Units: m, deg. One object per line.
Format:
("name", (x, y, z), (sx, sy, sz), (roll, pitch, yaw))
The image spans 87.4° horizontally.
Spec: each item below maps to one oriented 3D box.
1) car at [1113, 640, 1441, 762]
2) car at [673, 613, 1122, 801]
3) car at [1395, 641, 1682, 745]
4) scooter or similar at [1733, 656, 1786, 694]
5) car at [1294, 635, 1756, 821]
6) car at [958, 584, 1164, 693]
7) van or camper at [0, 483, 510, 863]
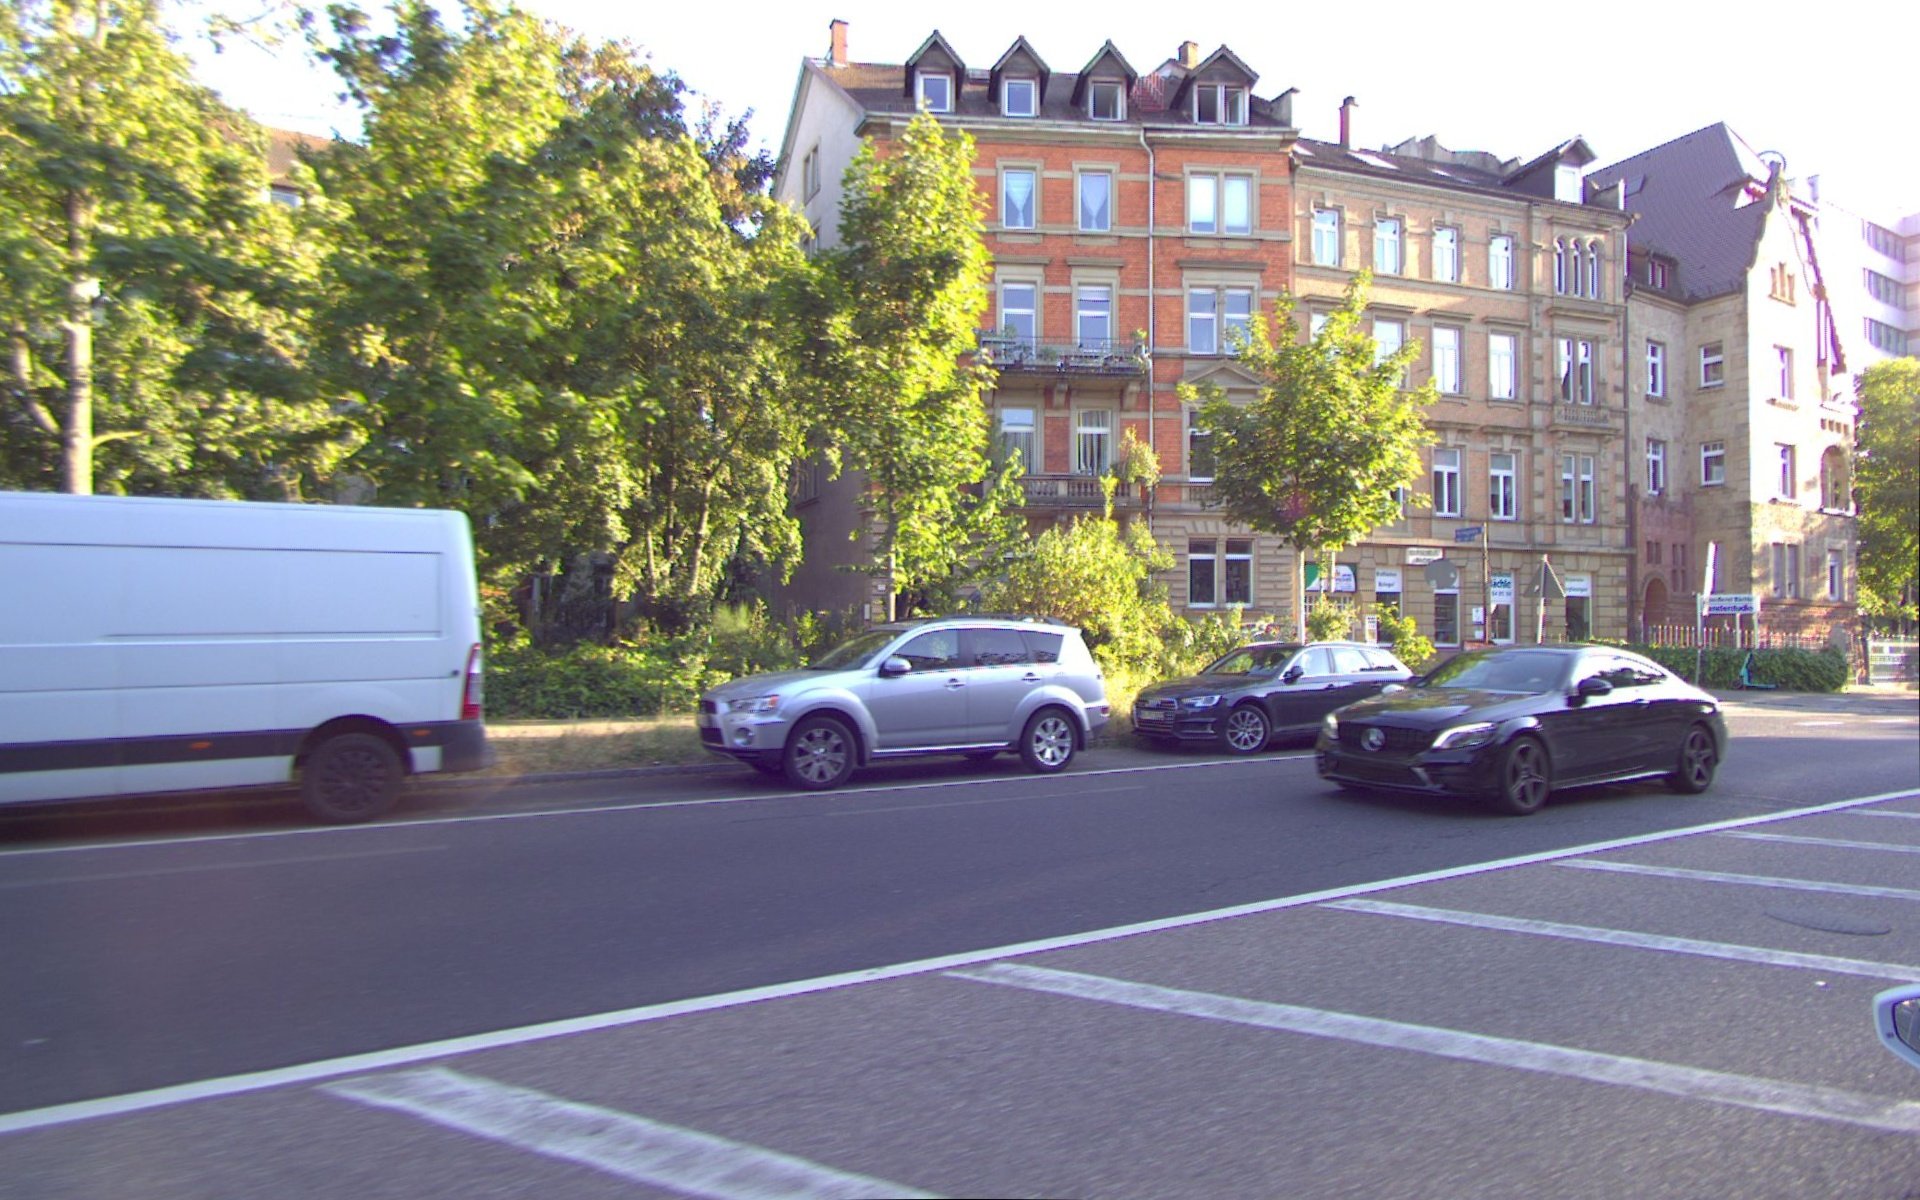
("car", (4.462, 1.299, 13.969), (4.570, 1.464, 1.728), (1, -3, -30))
("car", (-0.608, 1.056, 10.903), (4.517, 1.666, 1.858), (2, -4, -30))
("car", (9.605, 1.441, 16.610), (4.771, 1.503, 1.985), (2, -3, -30))
("scooter or similar", (22.693, 2.135, 28.522), (1.095, 1.070, 0.288), (-1, -3, 14))
("car", (5.454, 1.066, 9.576), (4.490, 1.420, 1.759), (1, -3, -29))
("car", (2.621, 1.046, 26.979), (5.208, 2.774, 2.126), (0, -3, -4))
("van or camper", (-6.881, 0.534, 7.519), (6.232, 2.500, 2.081), (1, -4, -30))
